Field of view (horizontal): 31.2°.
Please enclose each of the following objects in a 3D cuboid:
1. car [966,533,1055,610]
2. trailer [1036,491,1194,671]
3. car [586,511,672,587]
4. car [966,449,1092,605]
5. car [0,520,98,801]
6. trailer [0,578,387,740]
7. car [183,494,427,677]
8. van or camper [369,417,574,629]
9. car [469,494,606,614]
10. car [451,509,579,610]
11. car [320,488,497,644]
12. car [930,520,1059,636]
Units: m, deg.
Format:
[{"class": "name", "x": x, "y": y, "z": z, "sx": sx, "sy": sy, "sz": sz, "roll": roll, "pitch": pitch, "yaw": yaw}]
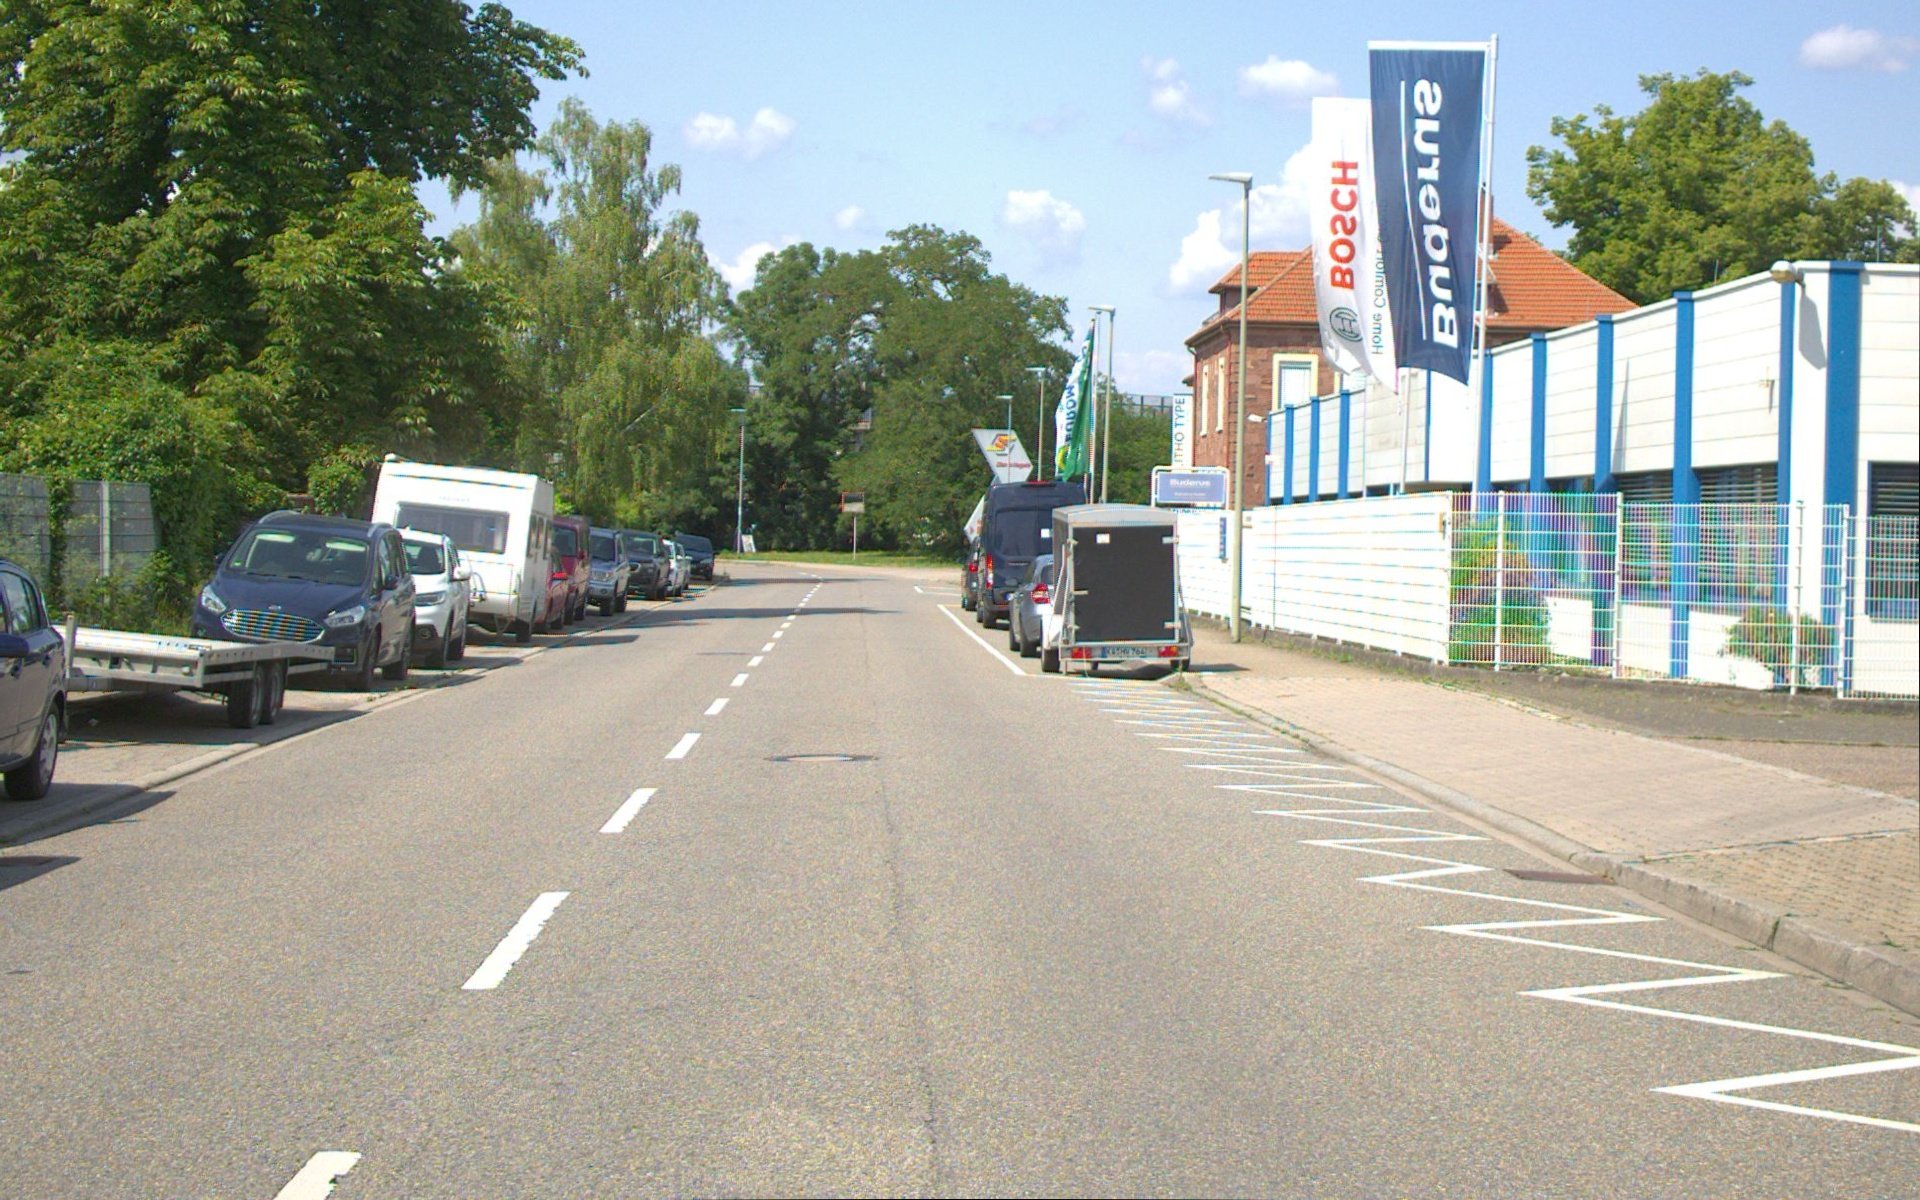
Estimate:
[{"class": "car", "x": 1.103, "y": -0.661, "z": 77.541, "sx": 1.825, "sy": 1.659, "sz": 4.556, "roll": 1, "pitch": 1, "yaw": -1}, {"class": "trailer", "x": 1.847, "y": -0.240, "z": 41.567, "sx": 1.601, "sy": 2.030, "sz": 2.741, "roll": 3, "pitch": 1, "yaw": -2}, {"class": "car", "x": -8.222, "y": -1.286, "z": 85.712, "sx": 1.610, "sy": 1.739, "sz": 4.636, "roll": 4, "pitch": 1, "yaw": 0}, {"class": "car", "x": 1.251, "y": -1.373, "z": 65.166, "sx": 1.937, "sy": 2.739, "sz": 6.155, "roll": 3, "pitch": 1, "yaw": -2}, {"class": "car", "x": -5.966, "y": 0.290, "z": 18.903, "sx": 1.577, "sy": 1.507, "sz": 4.202, "roll": 3, "pitch": 1, "yaw": -4}, {"class": "trailer", "x": -6.425, "y": 0.398, "z": 28.078, "sx": 2.271, "sy": 0.880, "sz": 7.132, "roll": 6, "pitch": 1, "yaw": 0}, {"class": "car", "x": -6.912, "y": -0.185, "z": 36.717, "sx": 1.827, "sy": 1.787, "sz": 4.736, "roll": 2, "pitch": 1, "yaw": -2}, {"class": "van or camper", "x": -7.293, "y": -1.136, "z": 52.064, "sx": 2.262, "sy": 2.794, "sz": 6.835, "roll": 5, "pitch": 1, "yaw": -3}, {"class": "car", "x": -7.897, "y": -0.864, "z": 64.706, "sx": 1.898, "sy": 1.948, "sz": 4.958, "roll": 7, "pitch": 0, "yaw": -2}, {"class": "car", "x": -7.587, "y": -0.695, "z": 58.890, "sx": 1.625, "sy": 1.527, "sz": 4.269, "roll": 5, "pitch": 1, "yaw": -2}, {"class": "car", "x": -6.838, "y": -0.439, "z": 42.989, "sx": 1.683, "sy": 1.686, "sz": 4.446, "roll": 6, "pitch": 1, "yaw": -5}, {"class": "car", "x": 0.441, "y": -0.325, "z": 47.845, "sx": 1.572, "sy": 1.502, "sz": 4.133, "roll": 2, "pitch": 1, "yaw": -2}]
